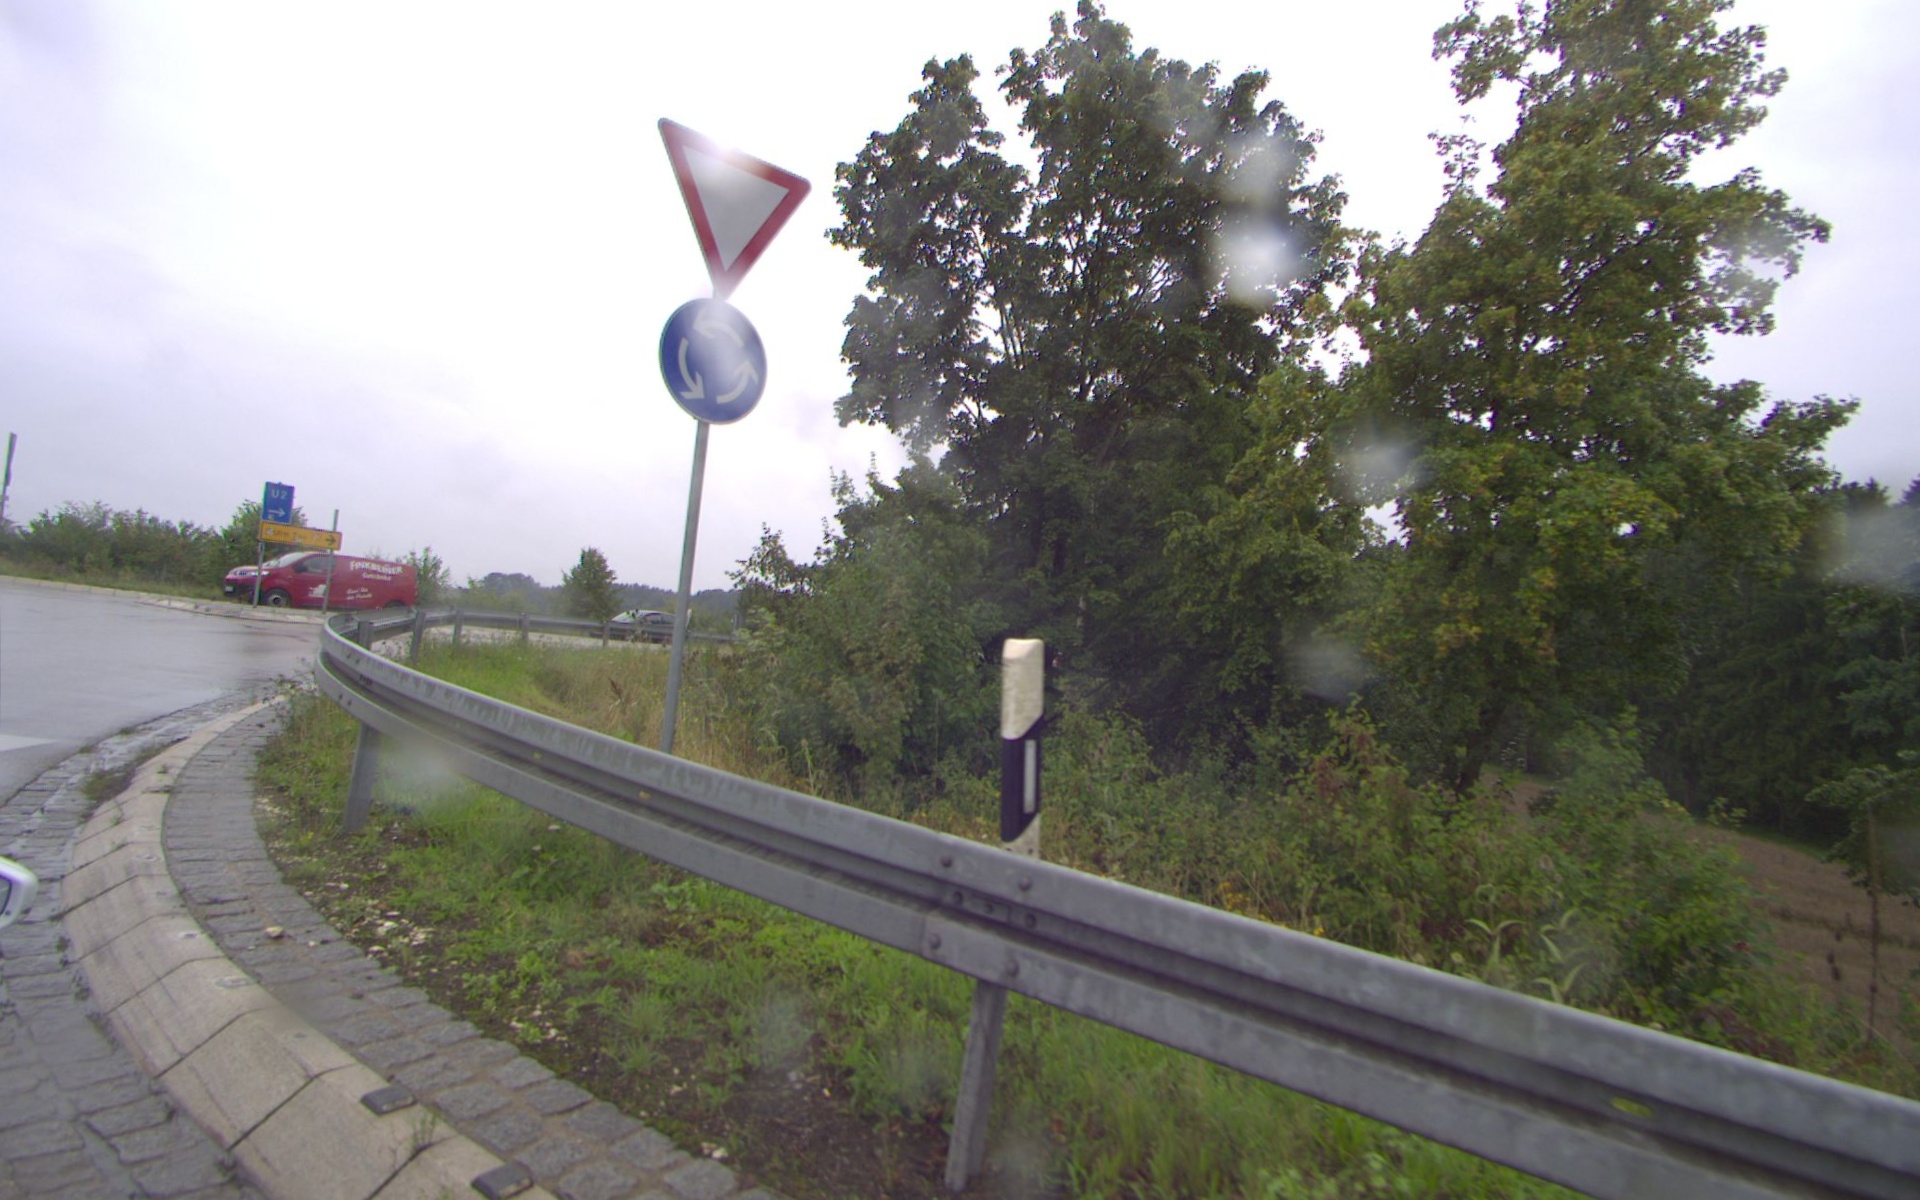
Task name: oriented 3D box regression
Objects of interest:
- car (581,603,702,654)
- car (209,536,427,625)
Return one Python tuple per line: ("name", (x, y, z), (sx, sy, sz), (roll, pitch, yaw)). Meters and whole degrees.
("car", (-12.652, 1.195, 40.293), (1.842, 1.436, 4.504), (6, -4, 28))
("car", (-18.920, -0.524, 29.907), (1.968, 1.891, 4.971), (5, -4, 33))
